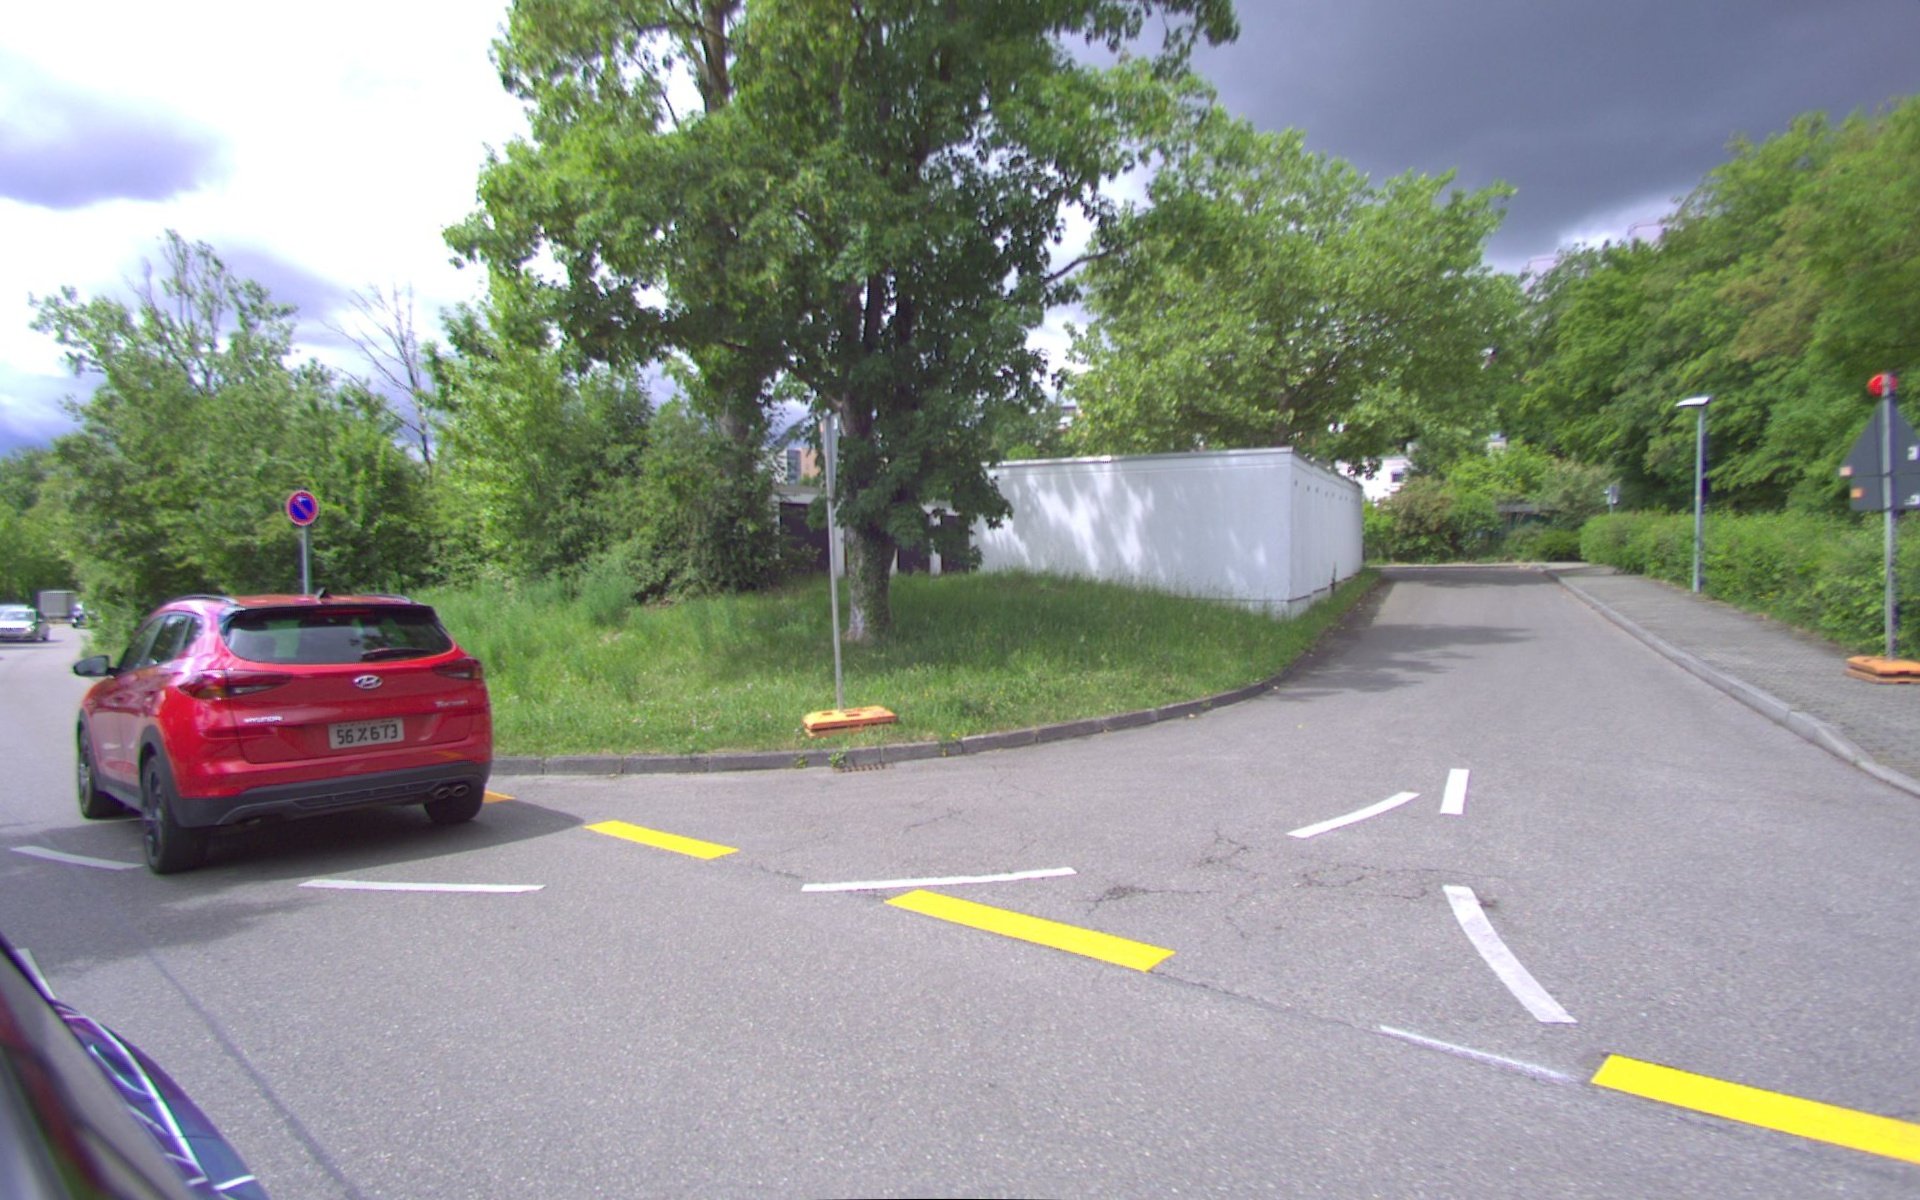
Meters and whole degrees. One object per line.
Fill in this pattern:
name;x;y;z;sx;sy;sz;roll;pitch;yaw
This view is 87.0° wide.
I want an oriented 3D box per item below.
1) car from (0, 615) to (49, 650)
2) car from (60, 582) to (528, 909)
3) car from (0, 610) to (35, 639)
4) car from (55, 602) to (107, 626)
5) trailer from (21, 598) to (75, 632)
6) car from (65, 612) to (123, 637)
car;-45.196;1.533;48.480;1.767;1.520;4.123;1;-1;-35
car;-4.988;0.784;7.320;4.221;1.671;1.823;-2;0;42
car;-55.124;1.381;58.234;1.837;1.488;4.917;1;0;-31
car;-61.963;0.968;71.414;1.682;1.488;3.796;1;1;-23
trailer;-59.365;0.953;65.959;1.706;2.094;3.796;1;1;-28
car;-54.385;1.526;63.652;1.766;1.520;4.126;2;-2;-27
